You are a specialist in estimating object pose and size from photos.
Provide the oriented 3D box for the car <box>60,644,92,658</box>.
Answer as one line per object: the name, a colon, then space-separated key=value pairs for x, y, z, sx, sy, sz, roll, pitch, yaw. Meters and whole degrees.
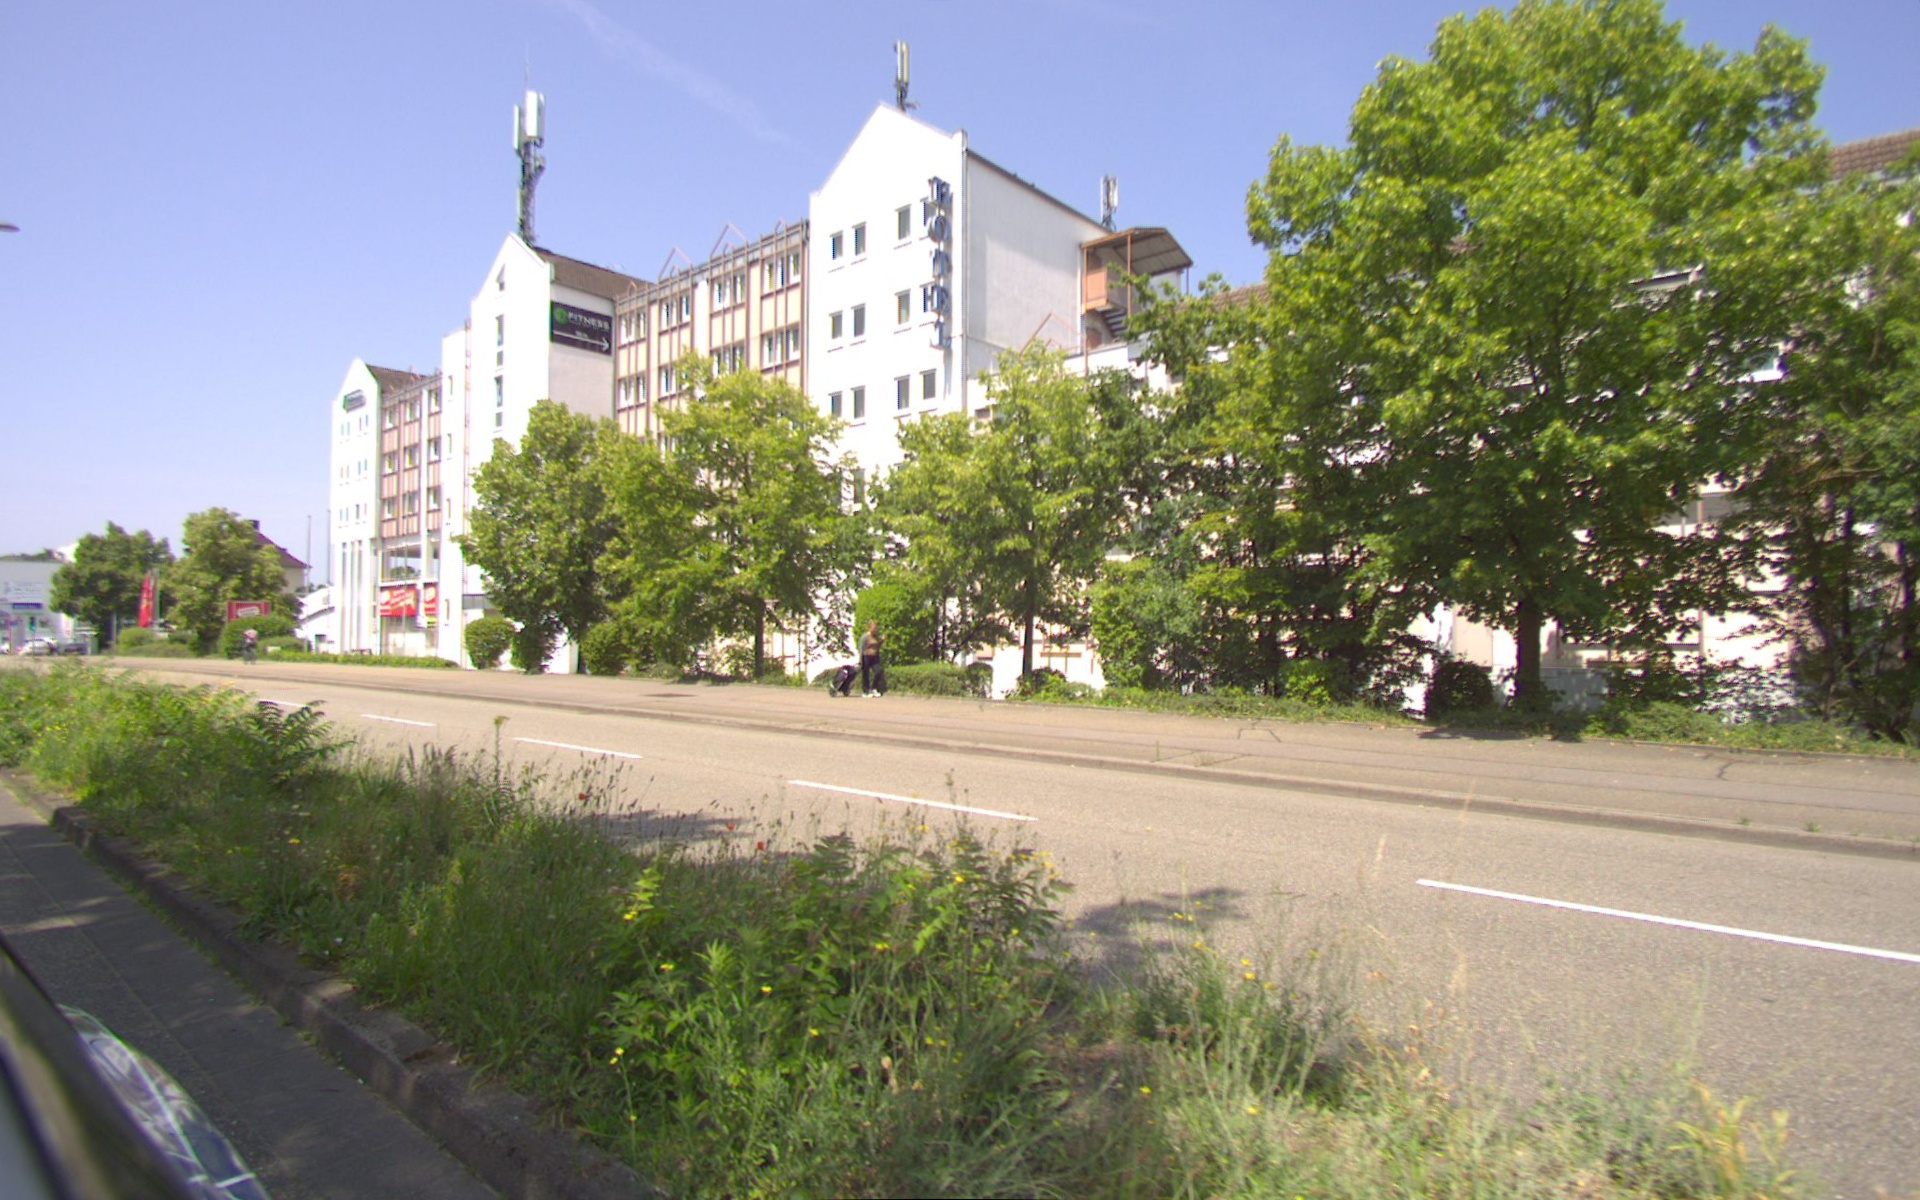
car: x=-89.269 y=5.173 z=102.135 sx=3.995 sy=1.362 sz=1.715 roll=-3 pitch=-4 yaw=39

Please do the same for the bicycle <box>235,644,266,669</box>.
bicycle: x=-31.412 y=2.493 z=44.769 sx=2.060 sy=1.081 sz=0.545 roll=-2 pitch=-2 yaw=38

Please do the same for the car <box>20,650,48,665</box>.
car: x=-91.879 y=5.712 z=100.377 sx=4.760 sy=1.421 sz=1.756 roll=-3 pitch=-5 yaw=44

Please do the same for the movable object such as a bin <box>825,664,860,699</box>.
movable object such as a bin: x=-2.468 y=1.695 z=21.196 sx=0.423 sy=0.711 sz=0.653 roll=3 pitch=-3 yaw=-41

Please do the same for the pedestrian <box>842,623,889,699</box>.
pedestrian: x=-1.969 y=1.267 z=21.129 sx=0.727 sy=1.556 sz=0.626 roll=-2 pitch=-3 yaw=40

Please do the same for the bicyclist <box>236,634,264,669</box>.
bicyclist: x=-31.422 y=2.283 z=44.804 sx=1.025 sy=1.528 sz=0.710 roll=-2 pitch=-3 yaw=37

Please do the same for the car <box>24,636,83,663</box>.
car: x=-99.590 y=5.417 z=111.227 sx=4.502 sy=1.719 sz=1.762 roll=-18 pitch=12 yaw=-42
